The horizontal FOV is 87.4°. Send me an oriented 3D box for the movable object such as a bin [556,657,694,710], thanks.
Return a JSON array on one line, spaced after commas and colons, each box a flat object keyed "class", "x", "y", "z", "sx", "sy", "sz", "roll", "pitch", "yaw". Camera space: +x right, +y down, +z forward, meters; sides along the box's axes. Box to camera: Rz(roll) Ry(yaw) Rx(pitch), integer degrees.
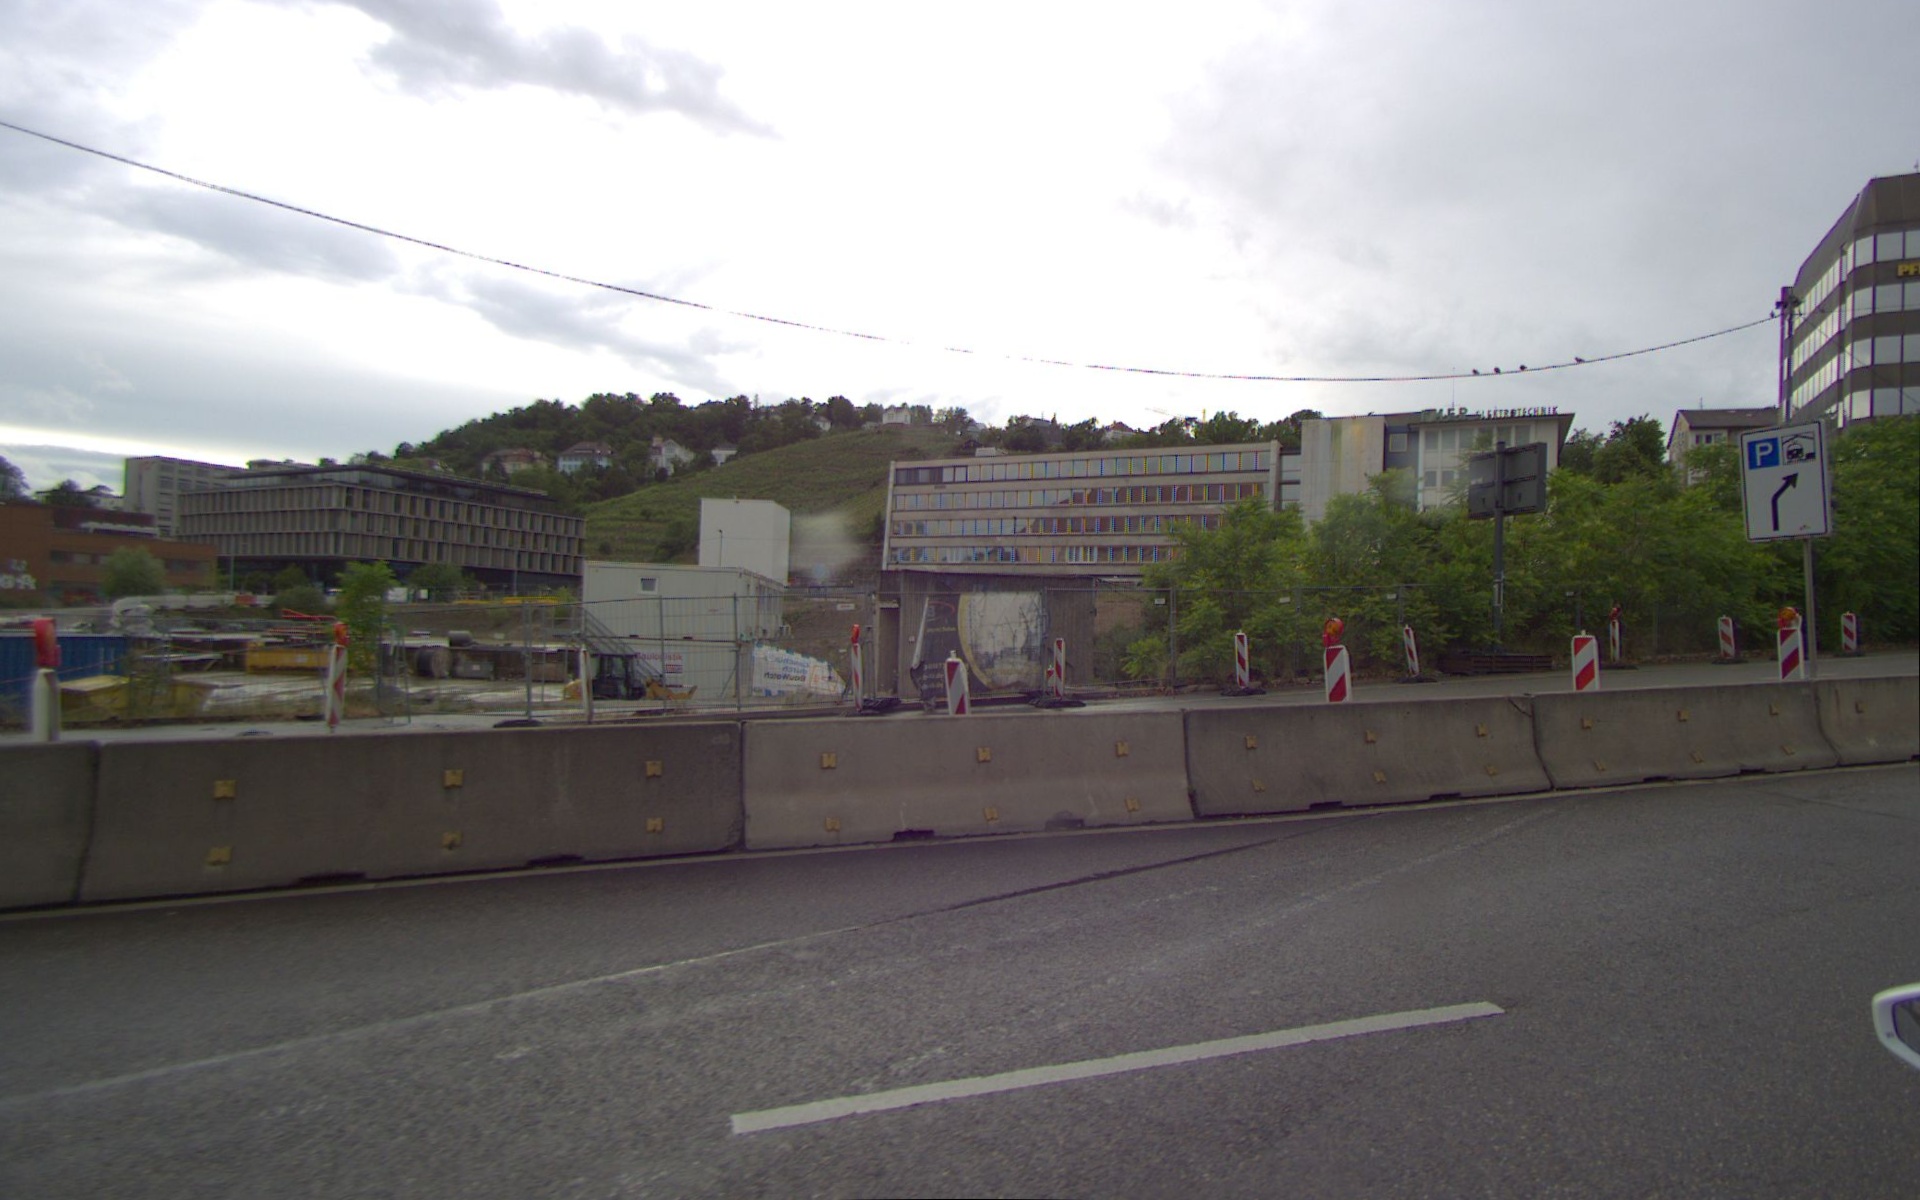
[{"class": "movable object such as a bin", "x": -11.468, "y": 2.883, "z": 34.680, "sx": 4.374, "sy": 1.698, "sz": 1.731, "roll": 2, "pitch": -1, "yaw": -16}]
